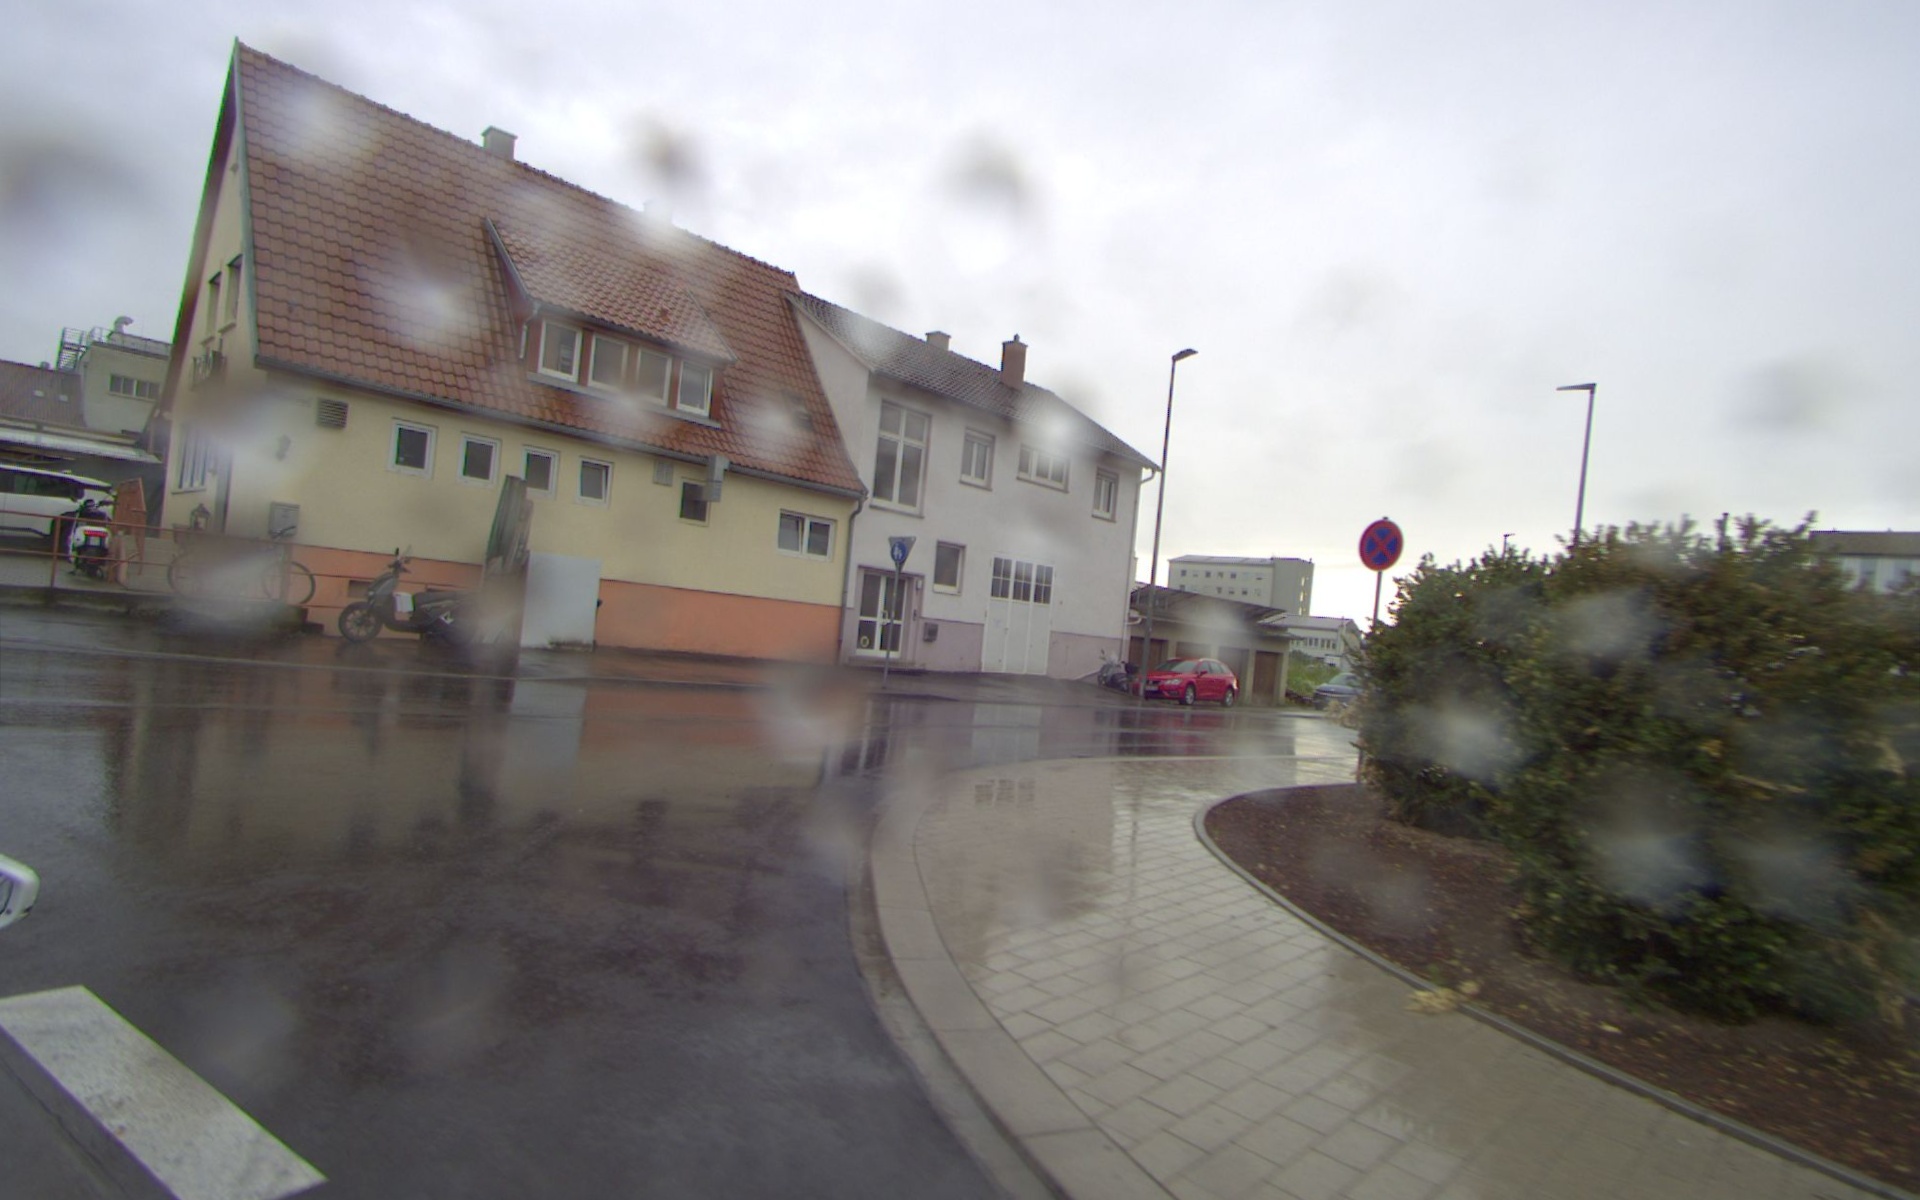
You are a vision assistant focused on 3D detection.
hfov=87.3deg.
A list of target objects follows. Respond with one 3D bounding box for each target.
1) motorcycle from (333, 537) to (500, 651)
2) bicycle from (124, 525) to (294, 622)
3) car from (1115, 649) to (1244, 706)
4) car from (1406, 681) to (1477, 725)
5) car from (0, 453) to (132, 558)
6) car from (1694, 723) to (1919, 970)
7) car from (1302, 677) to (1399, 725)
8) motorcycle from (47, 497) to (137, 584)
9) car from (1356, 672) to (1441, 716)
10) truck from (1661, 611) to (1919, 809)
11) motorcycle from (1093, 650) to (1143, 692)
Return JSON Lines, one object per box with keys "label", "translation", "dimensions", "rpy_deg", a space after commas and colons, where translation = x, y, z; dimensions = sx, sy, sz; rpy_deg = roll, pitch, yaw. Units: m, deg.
{"label": "motorcycle", "translation": [-8.103, -0.053, 15.081], "dimensions": [0.483, 1.474, 2.029], "rpy_deg": [6, -2, 44]}
{"label": "bicycle", "translation": [-10.431, -0.349, 14.019], "dimensions": [1.766, 1.109, 0.483], "rpy_deg": [8, -1, -45]}
{"label": "car", "translation": [6.783, 2.391, 30.829], "dimensions": [1.972, 1.393, 4.239], "rpy_deg": [7, 0, 41]}
{"label": "car", "translation": [23.752, 5.094, 49.587], "dimensions": [1.973, 1.804, 3.981], "rpy_deg": [5, -2, 42]}
{"label": "car", "translation": [-17.229, -1.761, 17.279], "dimensions": [1.830, 1.630, 4.220], "rpy_deg": [5, 0, 30]}
{"label": "car", "translation": [7.640, 1.823, 6.519], "dimensions": [4.260, 1.356, 1.694], "rpy_deg": [6, -1, 22]}
{"label": "car", "translation": [15.979, 4.131, 41.075], "dimensions": [4.170, 1.527, 1.975], "rpy_deg": [7, 0, -44]}
{"label": "motorcycle", "translation": [-12.933, -0.904, 14.967], "dimensions": [1.969, 1.109, 0.488], "rpy_deg": [7, 0, 36]}
{"label": "car", "translation": [20.057, 4.309, 45.925], "dimensions": [4.170, 1.609, 1.975], "rpy_deg": [7, 0, -44]}
{"label": "truck", "translation": [18.557, 2.255, 19.990], "dimensions": [2.597, 3.398, 14.427], "rpy_deg": [9, -1, 16]}
{"label": "motorcycle", "translation": [4.863, 2.200, 30.871], "dimensions": [0.482, 1.164, 2.033], "rpy_deg": [6, -2, 37]}
